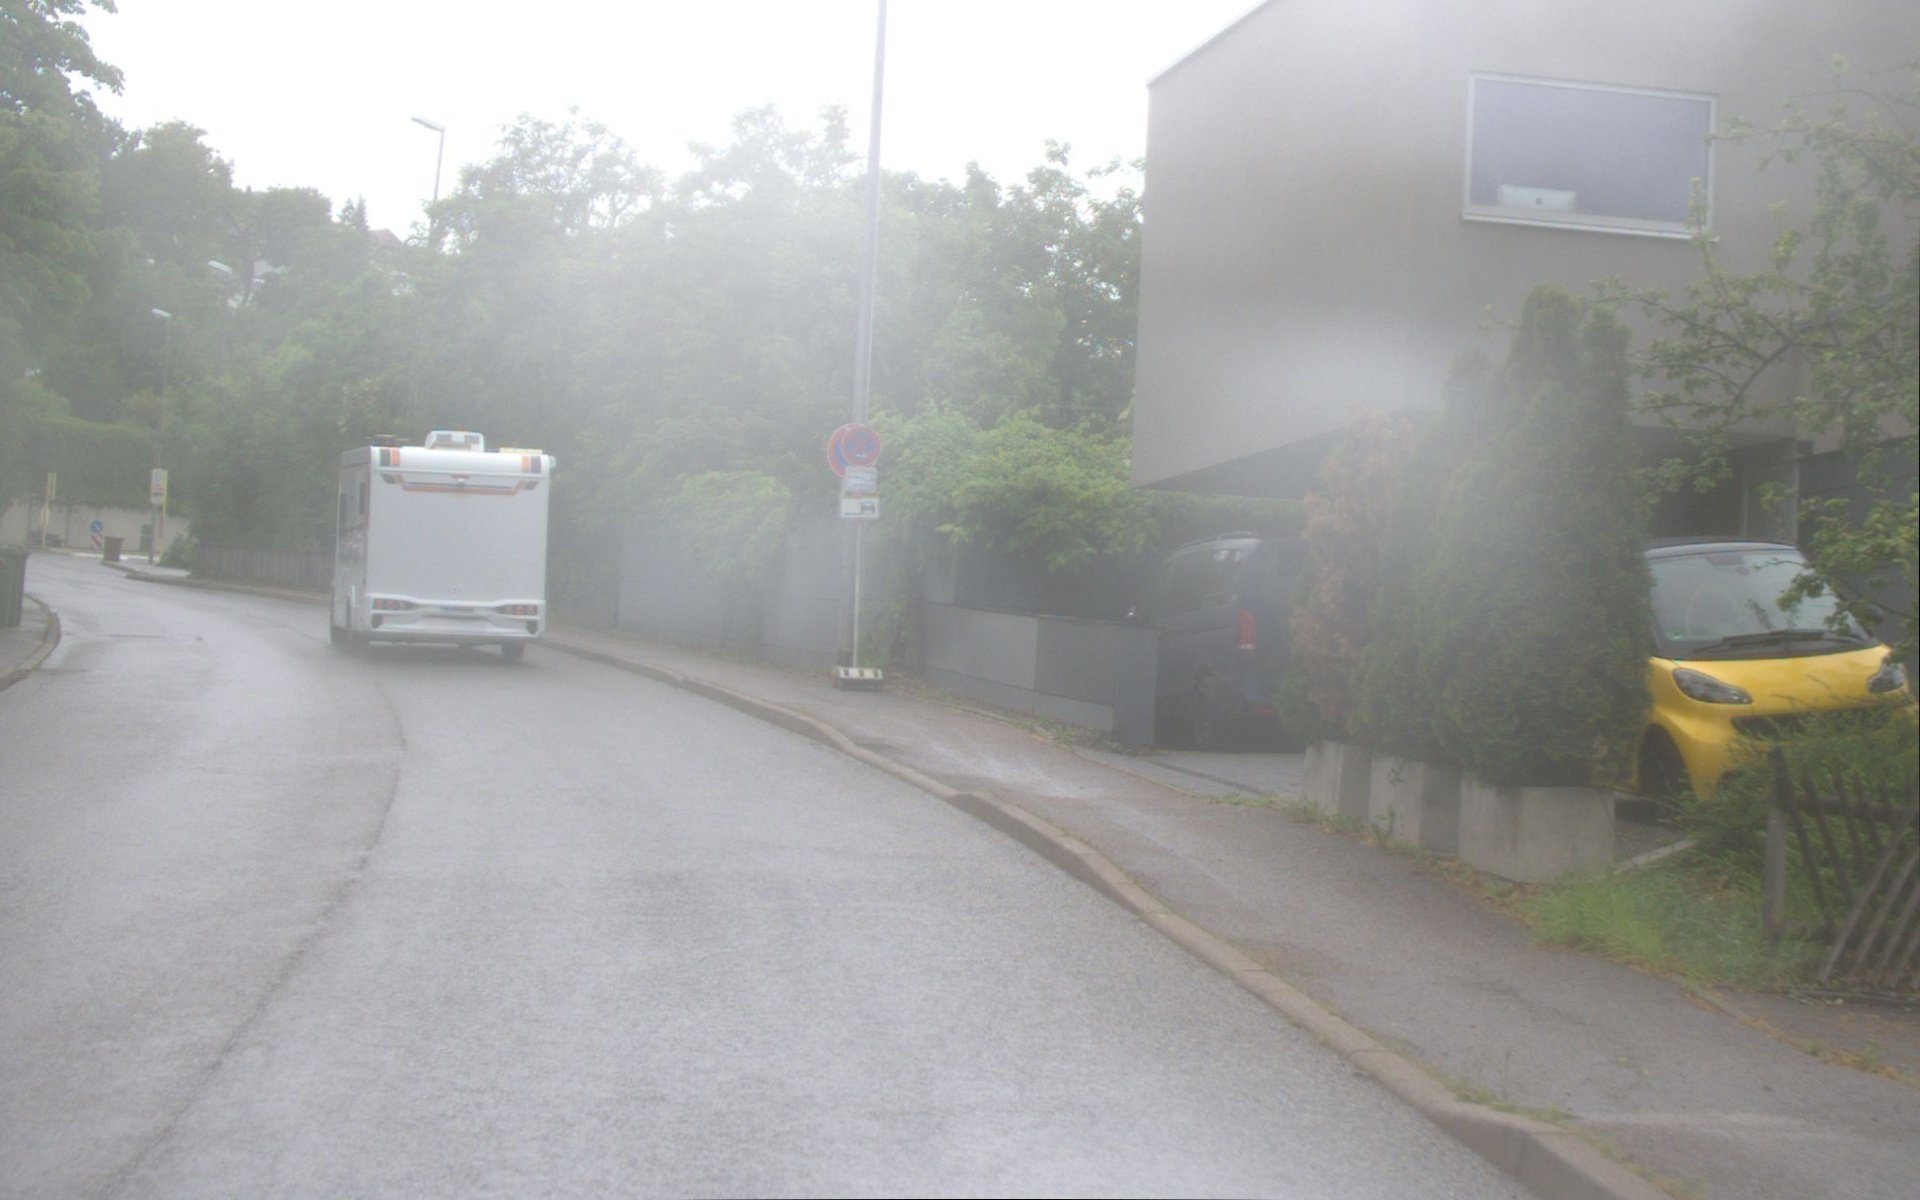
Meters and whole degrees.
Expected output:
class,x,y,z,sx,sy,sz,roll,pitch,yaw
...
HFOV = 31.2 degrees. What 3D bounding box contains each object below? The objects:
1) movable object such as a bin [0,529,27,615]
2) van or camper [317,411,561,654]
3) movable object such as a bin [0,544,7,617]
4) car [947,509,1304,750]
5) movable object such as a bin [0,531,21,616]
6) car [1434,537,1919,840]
class,x,y,z,sx,sy,sz,roll,pitch,yaw
movable object such as a bin,-12.533,-0.372,44.814,0.648,1.100,0.673,3,1,-13
van or camper,-6.897,-0.830,44.945,2.539,2.915,5.949,1,0,-14
movable object such as a bin,-12.387,-0.265,43.344,0.648,0.908,0.673,3,1,-13
car,1.368,0.324,30.695,1.993,1.934,4.774,2,-2,-12
movable object such as a bin,-12.436,-0.355,44.150,0.648,1.077,0.673,3,1,-13
car,4.152,0.447,19.727,1.627,1.488,3.428,-4,1,-13
